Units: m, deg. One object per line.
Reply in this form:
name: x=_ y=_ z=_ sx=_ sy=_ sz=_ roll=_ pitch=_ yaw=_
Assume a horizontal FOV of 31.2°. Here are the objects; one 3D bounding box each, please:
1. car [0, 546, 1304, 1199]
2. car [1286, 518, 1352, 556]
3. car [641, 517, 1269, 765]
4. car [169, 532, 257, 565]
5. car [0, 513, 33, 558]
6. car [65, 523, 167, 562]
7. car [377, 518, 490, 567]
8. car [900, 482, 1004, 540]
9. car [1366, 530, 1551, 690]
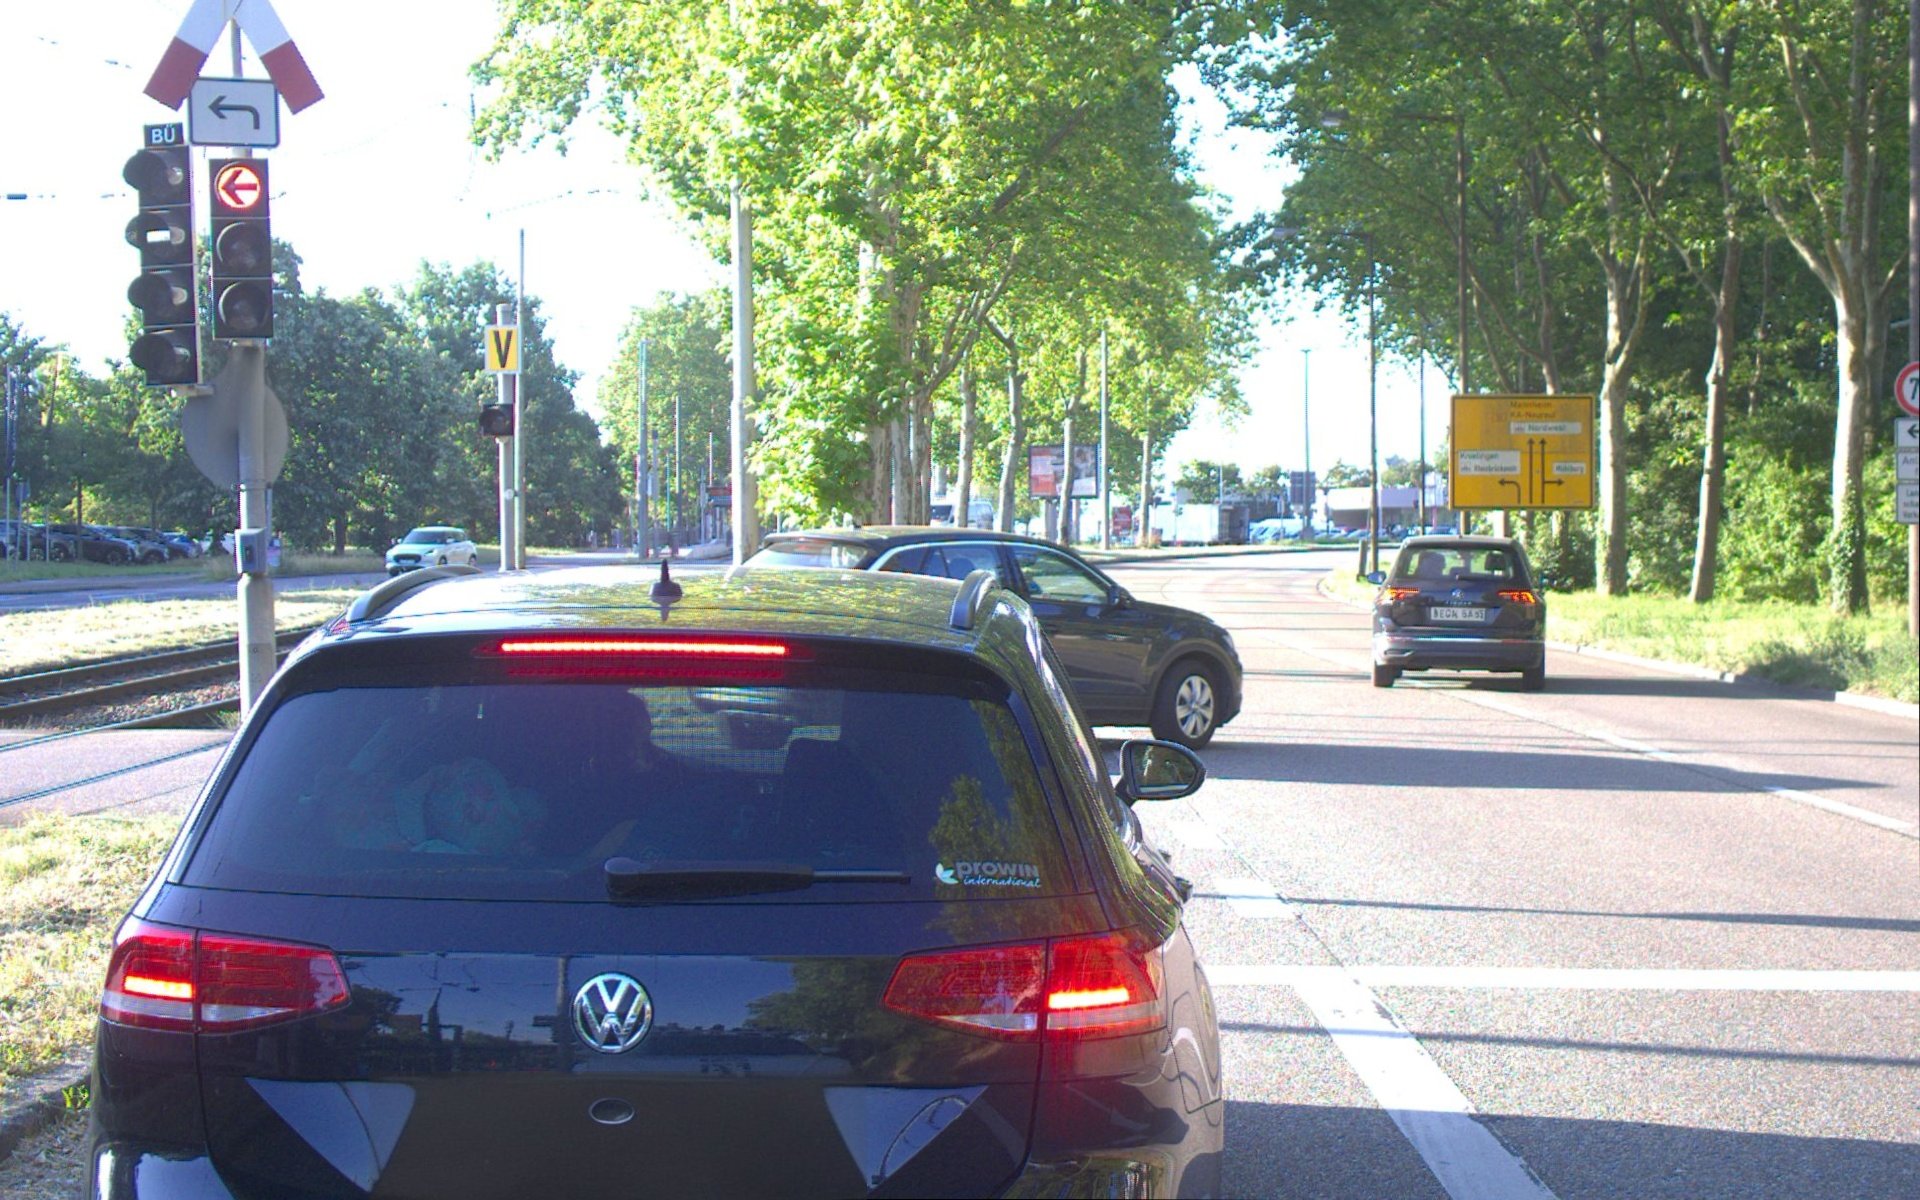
car: x=-0.476 y=0.644 z=6.421 sx=1.795 sy=1.459 sz=3.583 roll=1 pitch=1 yaw=-1
car: x=20.432 y=-3.582 z=195.597 sx=2.098 sy=2.058 sz=4.872 roll=2 pitch=2 yaw=27
car: x=0.022 y=0.240 z=23.642 sx=4.154 sy=1.555 sz=1.712 roll=0 pitch=1 yaw=-39
car: x=-36.496 y=-2.528 z=167.995 sx=3.986 sy=1.550 sz=1.744 roll=1 pitch=1 yaw=-4
car: x=-35.906 y=-2.347 z=125.013 sx=3.986 sy=1.615 sz=1.744 roll=1 pitch=1 yaw=-5
car: x=-35.813 y=-2.439 z=145.919 sx=3.986 sy=1.615 sz=1.744 roll=1 pitch=1 yaw=-5
car: x=-16.430 y=-1.799 z=107.377 sx=1.863 sy=1.476 sz=4.088 roll=1 pitch=1 yaw=17
car: x=-0.321 y=-3.872 z=150.294 sx=2.098 sy=2.453 sz=5.844 roll=1 pitch=2 yaw=27
car: x=5.437 y=0.072 z=37.414 sx=1.873 sy=1.629 sz=4.368 roll=0 pitch=1 yaw=9
